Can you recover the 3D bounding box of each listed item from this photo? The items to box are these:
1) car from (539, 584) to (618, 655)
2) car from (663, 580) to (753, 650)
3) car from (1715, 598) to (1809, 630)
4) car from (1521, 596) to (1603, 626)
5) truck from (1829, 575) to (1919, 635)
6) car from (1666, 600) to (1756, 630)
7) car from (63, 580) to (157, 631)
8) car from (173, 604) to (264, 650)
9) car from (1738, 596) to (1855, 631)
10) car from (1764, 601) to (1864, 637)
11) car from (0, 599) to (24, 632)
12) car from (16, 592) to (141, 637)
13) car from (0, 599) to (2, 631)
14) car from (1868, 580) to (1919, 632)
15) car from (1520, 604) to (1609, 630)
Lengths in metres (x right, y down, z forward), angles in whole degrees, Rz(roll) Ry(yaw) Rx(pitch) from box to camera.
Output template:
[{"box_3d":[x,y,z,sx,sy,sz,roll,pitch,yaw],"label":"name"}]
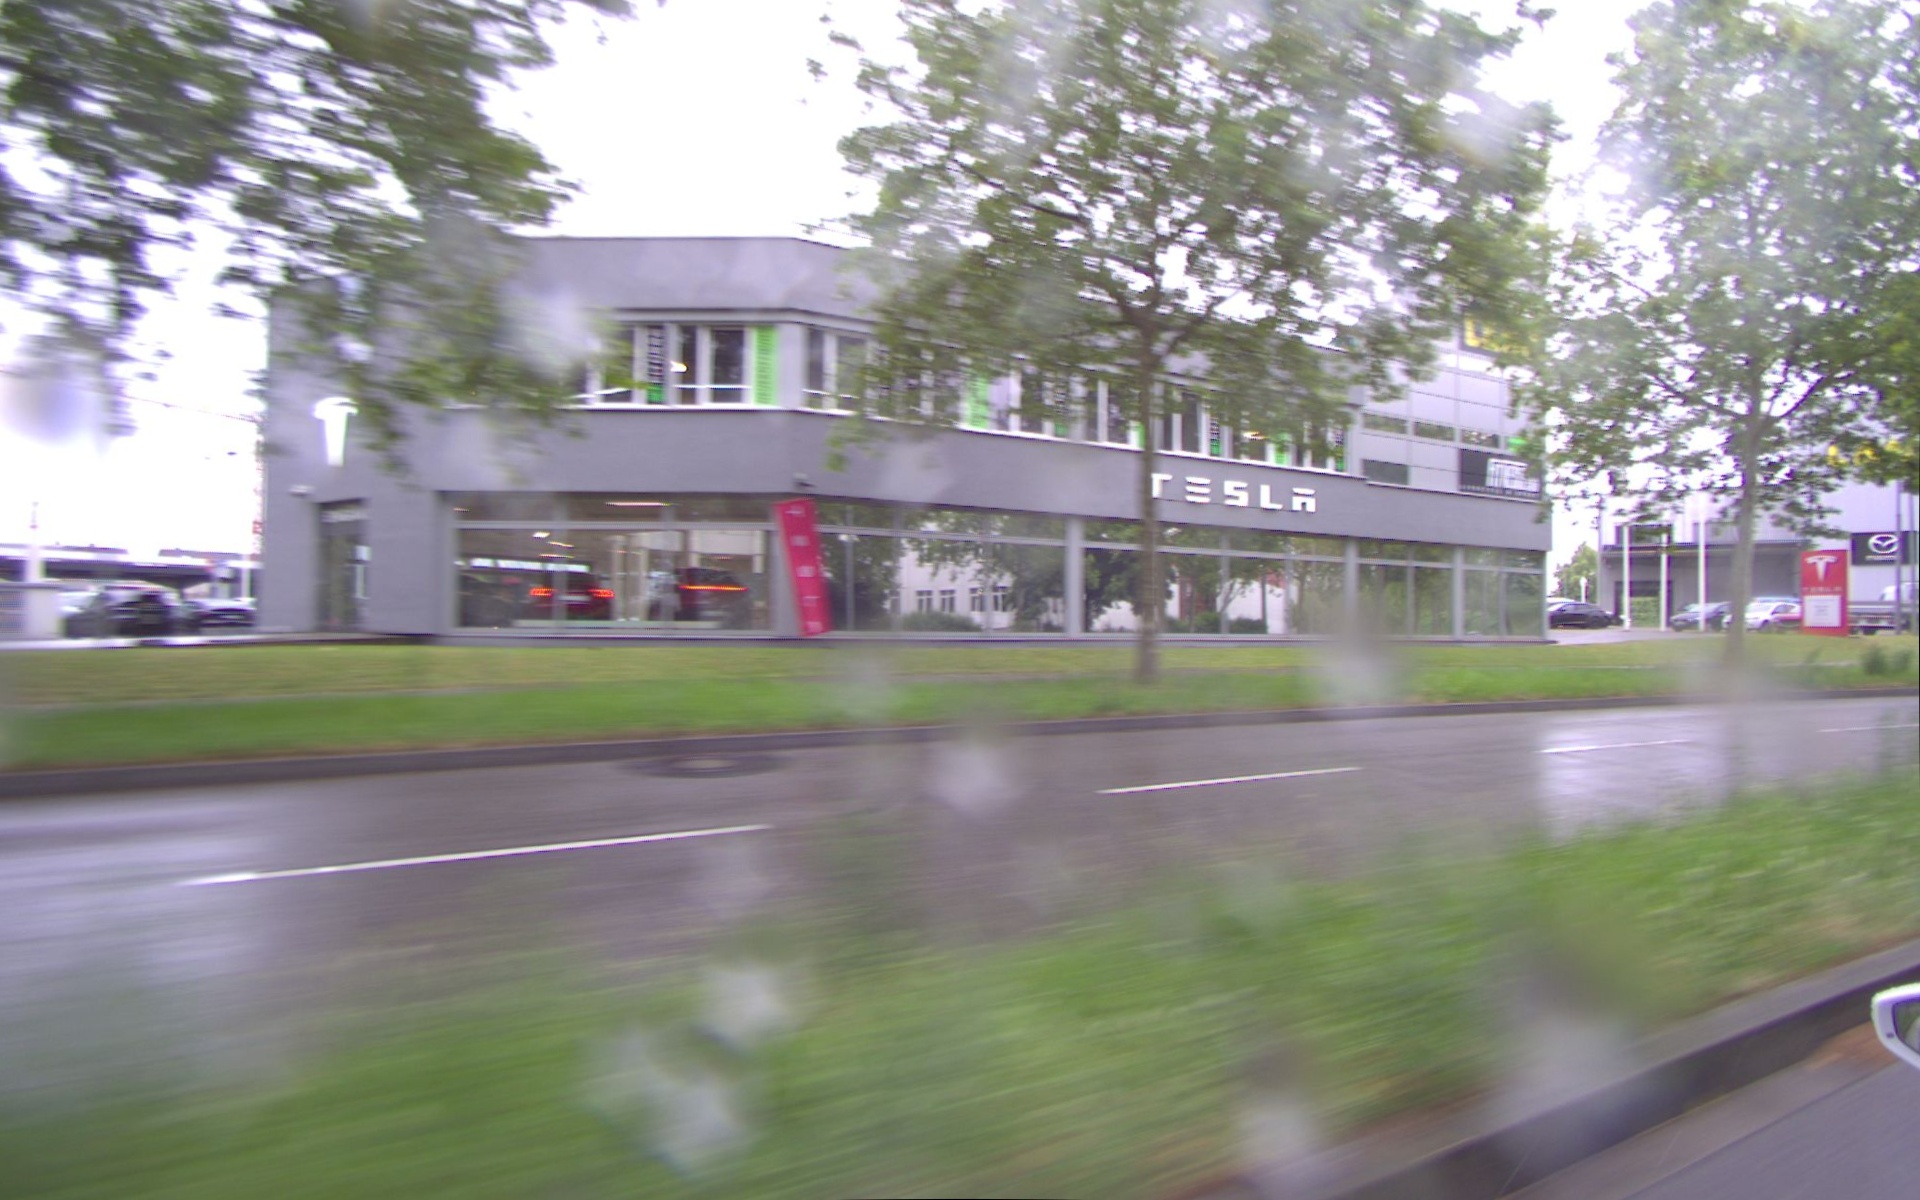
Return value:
[{"box_3d":[-9.022,0.448,23.783,1.574,1.514,4.184,1,-1,-21],"label":"car"},{"box_3d":[-6.111,0.368,24.065,1.574,1.514,4.184,1,-1,-21],"label":"car"},{"box_3d":[38.847,0.668,48.681,4.095,1.415,1.759,-1,1,-21],"label":"car"},{"box_3d":[37.863,0.683,63.209,4.073,1.752,1.769,0,1,3],"label":"car"},{"box_3d":[40.531,0.160,42.720,6.089,2.376,2.247,-1,3,-14],"label":"truck"},{"box_3d":[38.043,0.747,50.896,4.095,1.415,1.759,-1,1,-21],"label":"car"},{"box_3d":[-27.282,0.182,32.190,4.141,1.514,1.591,0,-1,40],"label":"car"},{"box_3d":[-25.995,0.912,35.179,4.141,1.514,1.591,0,-1,40],"label":"car"},{"box_3d":[45.962,0.717,55.323,4.565,1.788,1.819,1,1,24],"label":"car"},{"box_3d":[38.955,0.848,45.821,4.095,1.487,1.759,-1,1,-21],"label":"car"},{"box_3d":[-44.886,0.667,44.897,1.570,1.514,4.195,1,-1,32],"label":"car"},{"box_3d":[-38.529,0.648,44.034,1.783,1.837,4.205,1,-1,-1],"label":"car"},{"box_3d":[-47.048,0.638,46.121,1.570,1.514,4.195,1,-1,32],"label":"car"},{"box_3d":[53.141,0.304,56.107,2.131,2.789,5.332,1,1,27],"label":"car"},{"box_3d":[34.923,0.988,58.155,4.072,1.415,1.769,0,1,13],"label":"car"}]
